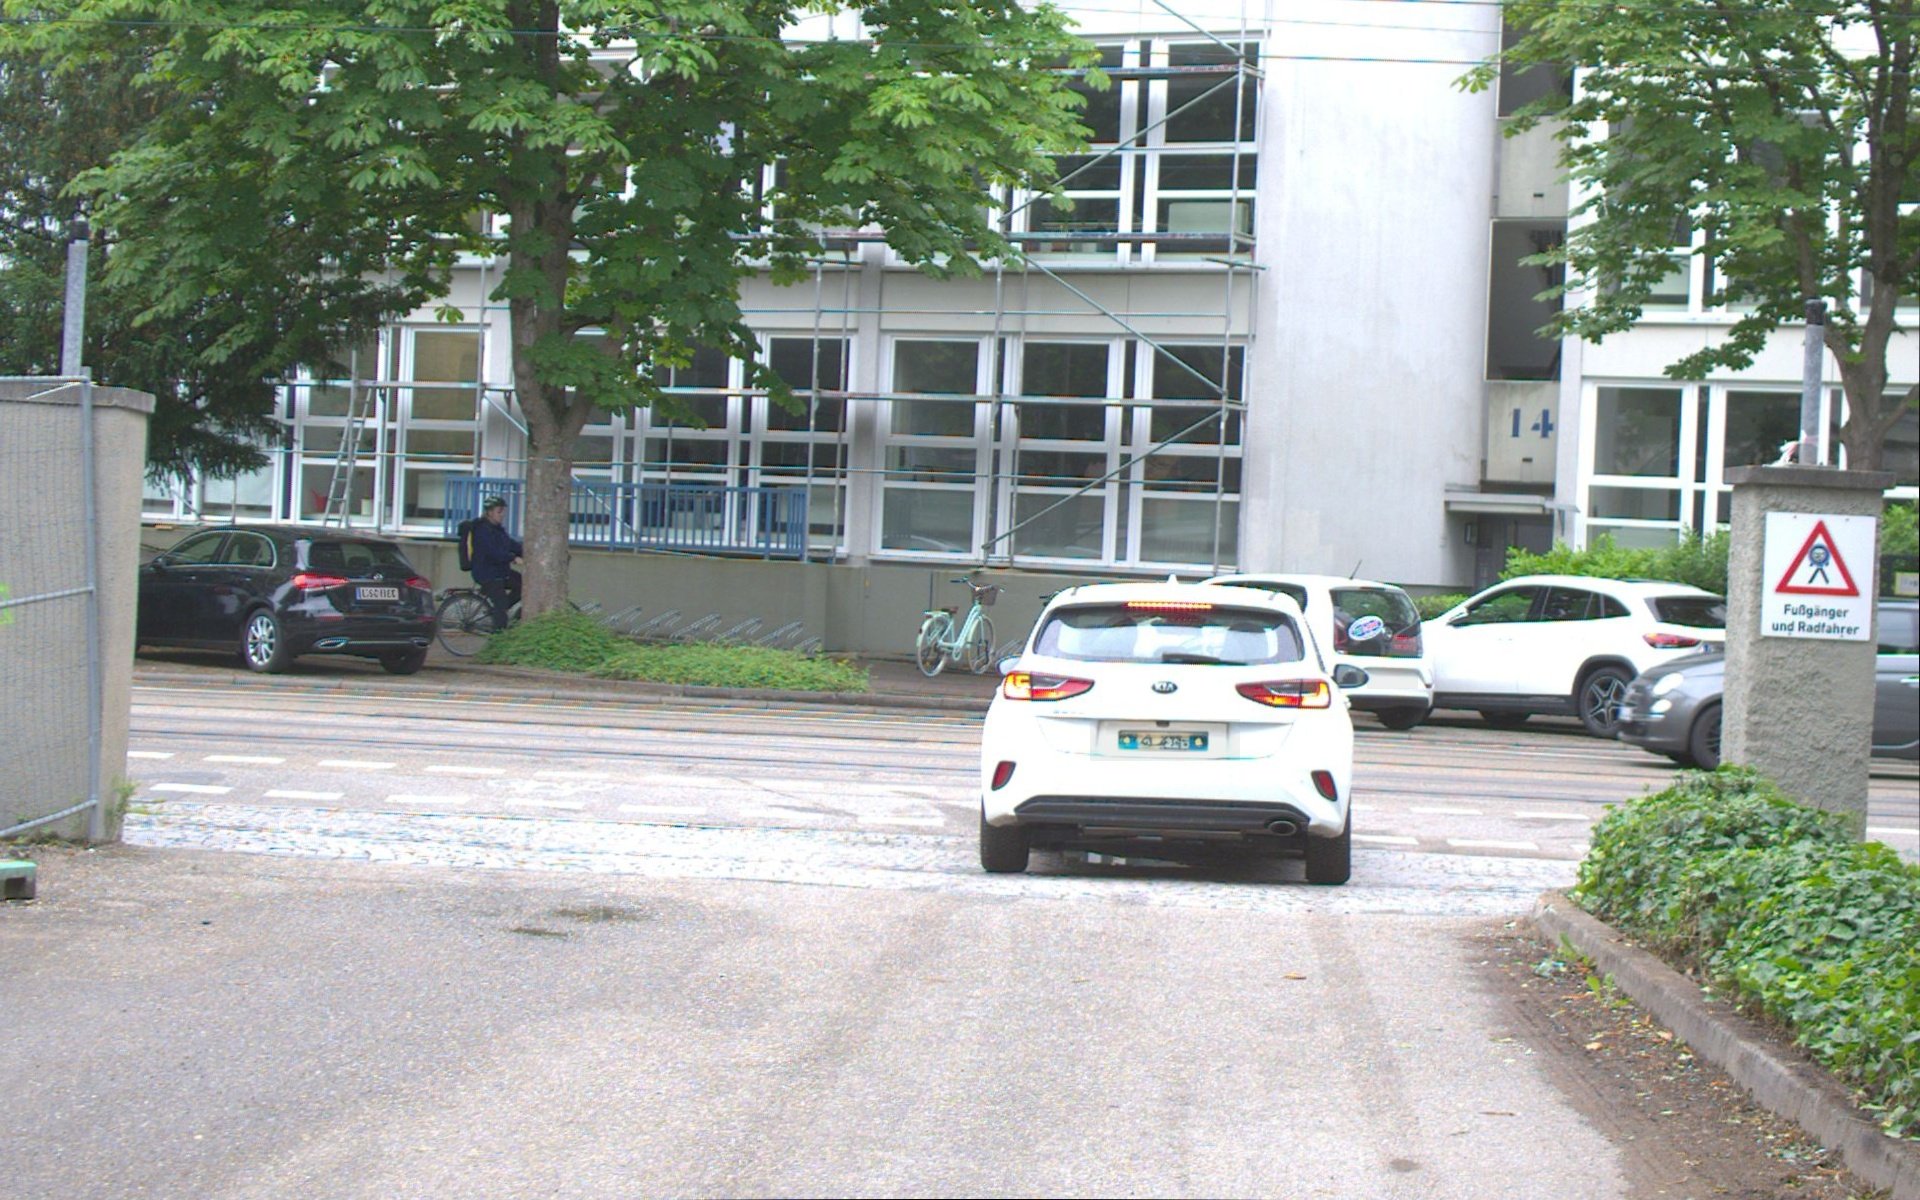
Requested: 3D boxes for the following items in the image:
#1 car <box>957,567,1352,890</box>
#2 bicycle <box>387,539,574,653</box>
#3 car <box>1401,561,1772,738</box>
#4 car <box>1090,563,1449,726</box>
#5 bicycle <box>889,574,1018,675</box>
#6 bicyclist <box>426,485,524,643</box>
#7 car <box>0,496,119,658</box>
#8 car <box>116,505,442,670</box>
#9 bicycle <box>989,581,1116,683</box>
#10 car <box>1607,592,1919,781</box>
[{"bbox_3d":[1.105,0.645,17.845,1.776,1.428,3.977,2,-1,6],"label":"car"},{"bbox_3d":[-5.308,-0.050,38.119,1.909,1.170,0.822,3,1,0],"label":"bicycle"},{"bbox_3d":[6.252,0.473,34.554,1.552,1.612,3.407,2,1,-40],"label":"car"},{"bbox_3d":[3.045,0.425,34.289,1.552,1.468,3.407,2,1,-40],"label":"car"},{"bbox_3d":[-0.060,0.275,40.851,0.645,1.071,2.309,3,3,23],"label":"bicycle"},{"bbox_3d":[-5.369,-0.401,38.116,0.894,1.692,0.834,3,1,0],"label":"bicyclist"},{"bbox_3d":[-9.931,-0.275,34.094,1.614,1.532,3.335,1,1,-43],"label":"car"},{"bbox_3d":[-6.813,-0.141,34.240,1.614,1.506,3.335,2,1,-43],"label":"car"},{"bbox_3d":[1.100,0.357,40.312,0.645,1.071,2.309,3,3,23],"label":"bicycle"},{"bbox_3d":[7.197,0.714,28.264,3.419,1.415,1.521,2,1,0],"label":"car"}]
